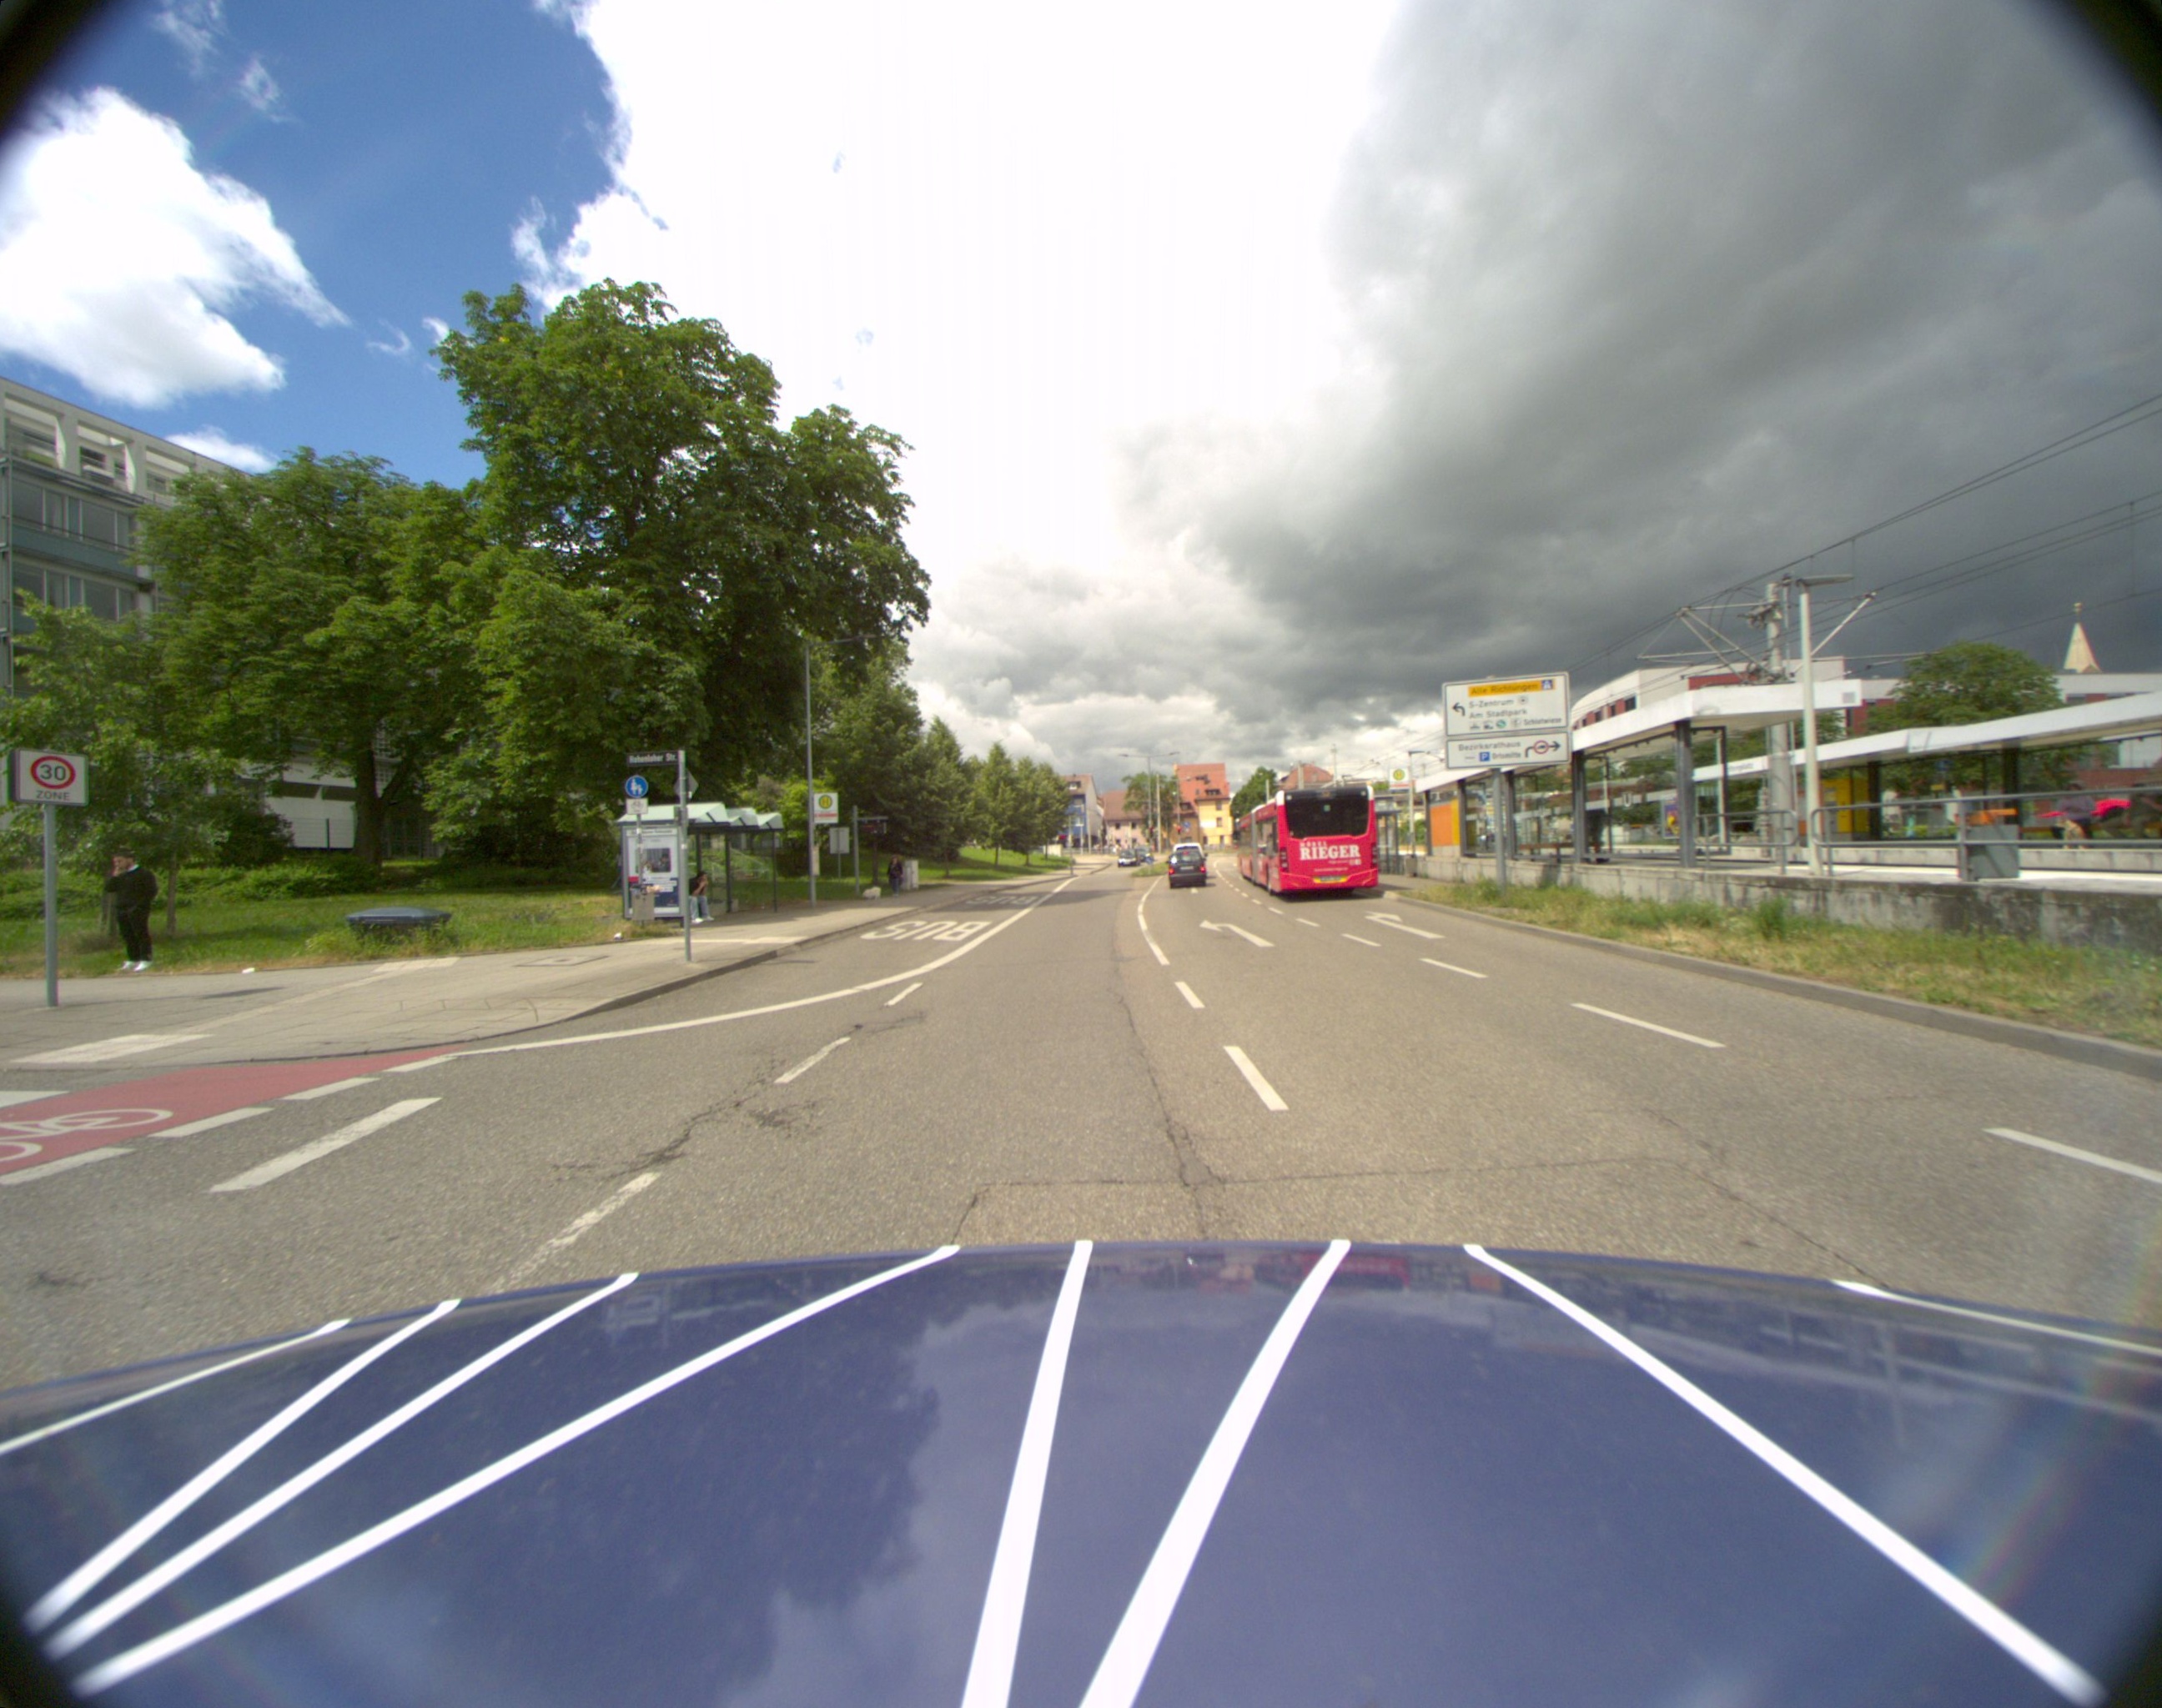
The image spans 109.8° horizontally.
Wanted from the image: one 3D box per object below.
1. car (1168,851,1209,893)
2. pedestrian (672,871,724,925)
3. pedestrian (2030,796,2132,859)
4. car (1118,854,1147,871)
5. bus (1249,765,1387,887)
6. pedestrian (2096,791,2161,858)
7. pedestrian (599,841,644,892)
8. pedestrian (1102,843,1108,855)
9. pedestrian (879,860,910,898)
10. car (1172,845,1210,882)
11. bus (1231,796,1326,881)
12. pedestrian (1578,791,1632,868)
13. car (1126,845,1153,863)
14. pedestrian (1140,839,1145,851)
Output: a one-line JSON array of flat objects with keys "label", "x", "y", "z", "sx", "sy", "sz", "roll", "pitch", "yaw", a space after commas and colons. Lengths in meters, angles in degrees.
[{"label": "car", "x": 4.560, "y": 0.697, "z": 32.088, "sx": 1.532, "sy": 1.542, "sz": 3.734, "roll": -3, "pitch": 1, "yaw": 9}, {"label": "pedestrian", "x": -9.241, "y": 1.061, "z": 18.345, "sx": 0.828, "sy": 1.251, "sz": 0.686, "roll": -1, "pitch": 1, "yaw": 11}, {"label": "pedestrian", "x": 21.340, "y": -0.555, "z": 16.238, "sx": 0.758, "sy": 1.284, "sz": 1.113, "roll": -1, "pitch": 1, "yaw": 9}, {"label": "car", "x": 4.620, "y": 0.729, "z": 67.618, "sx": 1.880, "sy": 1.420, "sz": 4.005, "roll": -2, "pitch": -1, "yaw": 14}, {"label": "bus", "x": 7.109, "y": -0.634, "z": 24.118, "sx": 2.731, "sy": 3.051, "sz": 8.971, "roll": -2, "pitch": -1, "yaw": 9}, {"label": "pedestrian", "x": 21.181, "y": -0.573, "z": 15.035, "sx": 0.758, "sy": 1.284, "sz": 1.113, "roll": -1, "pitch": 1, "yaw": 9}, {"label": "pedestrian", "x": -16.097, "y": 0.419, "z": 26.638, "sx": 0.987, "sy": 1.750, "sz": 0.859, "roll": -1, "pitch": 2, "yaw": 18}, {"label": "pedestrian", "x": 3.543, "y": -0.703, "z": 111.903, "sx": 0.753, "sy": 1.740, "sz": 0.586, "roll": -2, "pitch": 1, "yaw": -19}, {"label": "pedestrian", "x": -7.117, "y": 0.944, "z": 29.013, "sx": 0.821, "sy": 1.416, "sz": 0.830, "roll": -2, "pitch": 2, "yaw": 8}, {"label": "car", "x": 5.620, "y": 0.547, "z": 39.299, "sx": 1.765, "sy": 1.652, "sz": 4.511, "roll": -1, "pitch": -3, "yaw": 6}, {"label": "bus", "x": 8.362, "y": -0.494, "z": 33.406, "sx": 2.731, "sy": 3.090, "sz": 9.711, "roll": -2, "pitch": -1, "yaw": 7}, {"label": "pedestrian", "x": 11.579, "y": -0.527, "z": 16.798, "sx": 0.688, "sy": 1.646, "sz": 0.701, "roll": -2, "pitch": -1, "yaw": 8}, {"label": "car", "x": 5.859, "y": -0.001, "z": 75.674, "sx": 1.997, "sy": 1.639, "sz": 4.425, "roll": -2, "pitch": -1, "yaw": 12}, {"label": "pedestrian", "x": 8.891, "y": -1.307, "z": 109.993, "sx": 0.692, "sy": 1.740, "sz": 0.751, "roll": -1, "pitch": 1, "yaw": -4}]
